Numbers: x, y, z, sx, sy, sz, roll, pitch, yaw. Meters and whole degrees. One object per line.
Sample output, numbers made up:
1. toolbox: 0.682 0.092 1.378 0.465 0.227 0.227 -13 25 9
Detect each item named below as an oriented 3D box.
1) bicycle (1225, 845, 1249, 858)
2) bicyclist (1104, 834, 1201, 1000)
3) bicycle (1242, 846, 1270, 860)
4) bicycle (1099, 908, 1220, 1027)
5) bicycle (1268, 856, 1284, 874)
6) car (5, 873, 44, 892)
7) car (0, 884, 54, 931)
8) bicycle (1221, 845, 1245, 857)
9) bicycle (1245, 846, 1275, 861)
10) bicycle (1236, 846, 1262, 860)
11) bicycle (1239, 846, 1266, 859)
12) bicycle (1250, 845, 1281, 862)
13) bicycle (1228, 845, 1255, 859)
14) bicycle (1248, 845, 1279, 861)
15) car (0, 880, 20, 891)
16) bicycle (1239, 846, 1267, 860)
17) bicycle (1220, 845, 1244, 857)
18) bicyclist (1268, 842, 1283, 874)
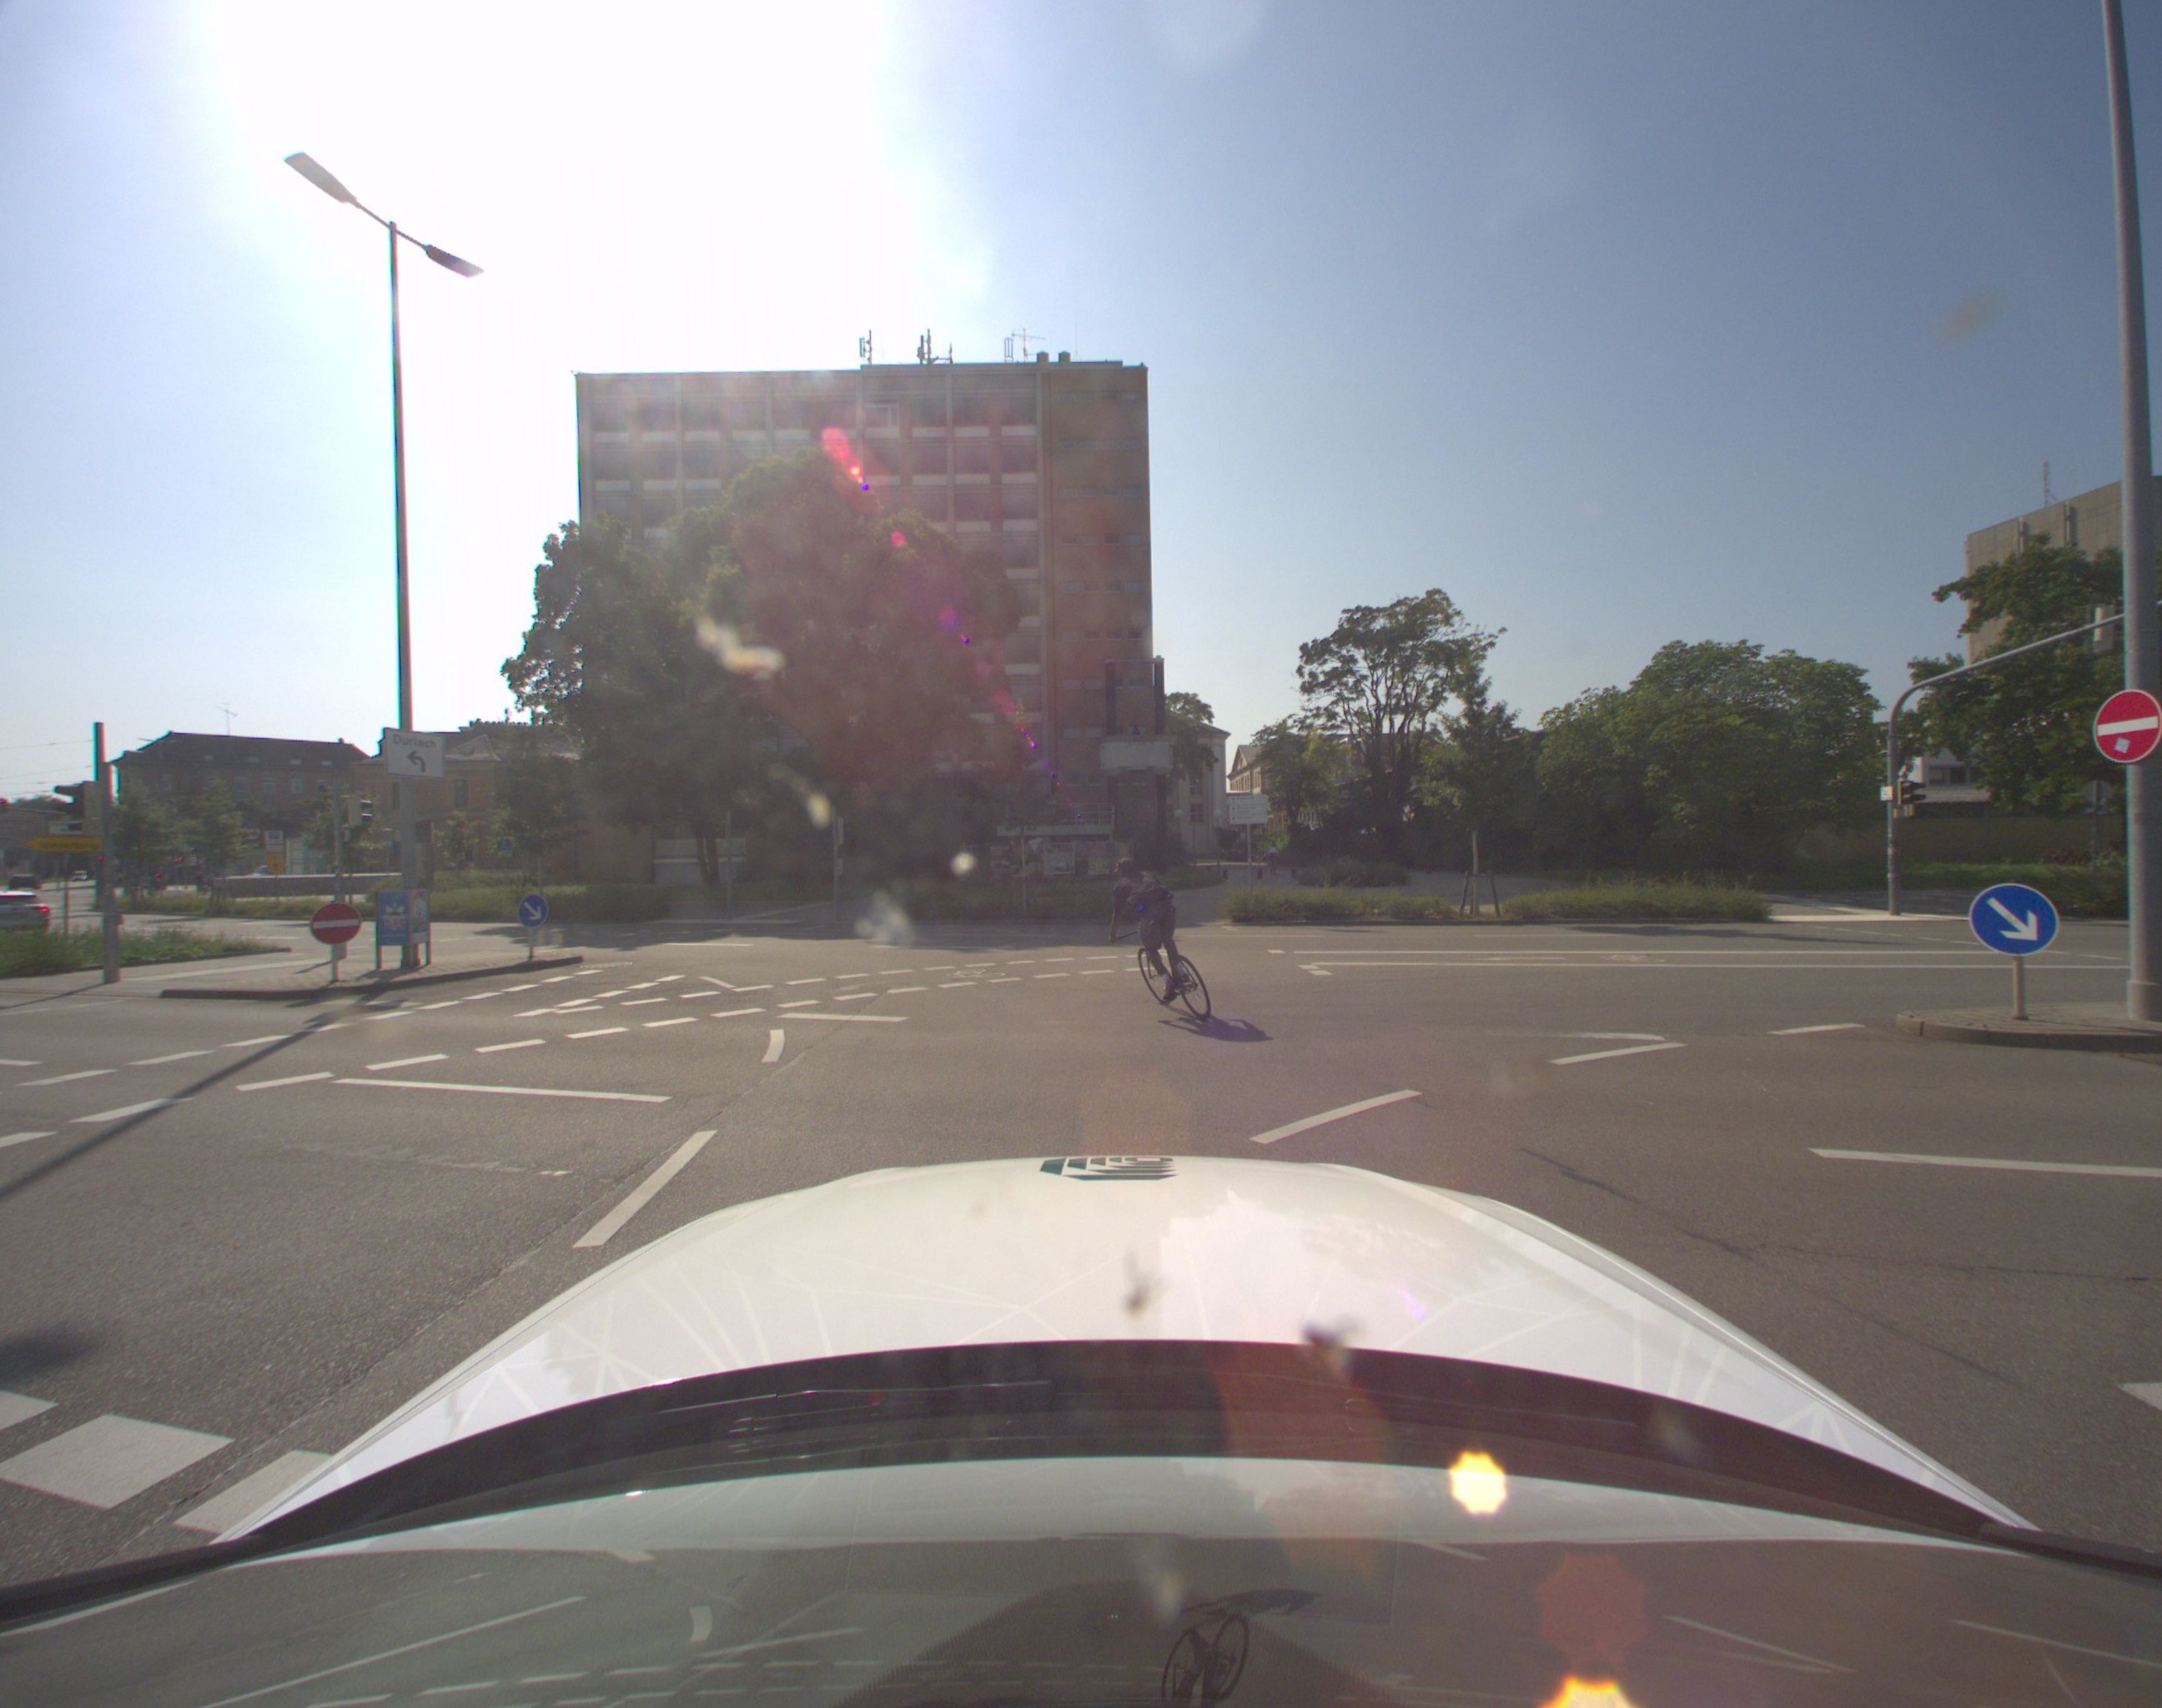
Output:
1. bicycle: 15.907 -0.222 83.078 2.415 1.282 0.721 1 0 5
2. bicyclist: 0.709 0.619 8.394 0.771 1.579 0.988 -1 -2 -7
3. bicycle: 15.831 -0.082 73.728 2.415 1.234 0.721 1 0 5
4. bicycle: 0.734 1.084 8.375 0.771 0.976 2.144 -1 -2 -7
5. bicycle: 10.100 0.547 42.173 0.669 0.879 1.405 -1 0 9
6. car: -121.024 3.225 93.330 4.717 2.013 2.435 -1 0 41
7. car: -34.610 1.721 25.882 3.588 1.387 1.700 -2 -1 26
8. bicycle: 15.862 -0.288 85.224 2.415 1.262 0.721 1 0 5
9. bicycle: 15.494 -0.039 70.514 2.415 1.223 0.721 1 0 5
10. bicycle: 15.916 -0.105 77.208 2.415 1.282 0.721 1 0 5
11. bicycle: 15.927 -0.135 75.621 2.415 1.229 0.721 1 0 5
12. bicycle: 15.106 -0.057 66.848 2.415 1.318 0.721 1 0 5
13. bicycle: 15.446 -0.168 78.358 2.415 1.282 0.721 1 0 5
14. bicycle: 15.208 -0.078 67.982 2.415 1.318 0.721 1 0 5
15. car: -154.873 4.558 117.110 2.010 1.442 3.953 -1 0 -40
16. bicycle: 15.760 -0.113 74.579 2.415 1.239 0.721 1 0 5
17. bicycle: 16.014 -0.320 86.234 2.415 1.280 0.721 1 0 5
18. bicyclist: 10.057 0.201 42.115 0.646 1.601 0.922 -1 0 9
